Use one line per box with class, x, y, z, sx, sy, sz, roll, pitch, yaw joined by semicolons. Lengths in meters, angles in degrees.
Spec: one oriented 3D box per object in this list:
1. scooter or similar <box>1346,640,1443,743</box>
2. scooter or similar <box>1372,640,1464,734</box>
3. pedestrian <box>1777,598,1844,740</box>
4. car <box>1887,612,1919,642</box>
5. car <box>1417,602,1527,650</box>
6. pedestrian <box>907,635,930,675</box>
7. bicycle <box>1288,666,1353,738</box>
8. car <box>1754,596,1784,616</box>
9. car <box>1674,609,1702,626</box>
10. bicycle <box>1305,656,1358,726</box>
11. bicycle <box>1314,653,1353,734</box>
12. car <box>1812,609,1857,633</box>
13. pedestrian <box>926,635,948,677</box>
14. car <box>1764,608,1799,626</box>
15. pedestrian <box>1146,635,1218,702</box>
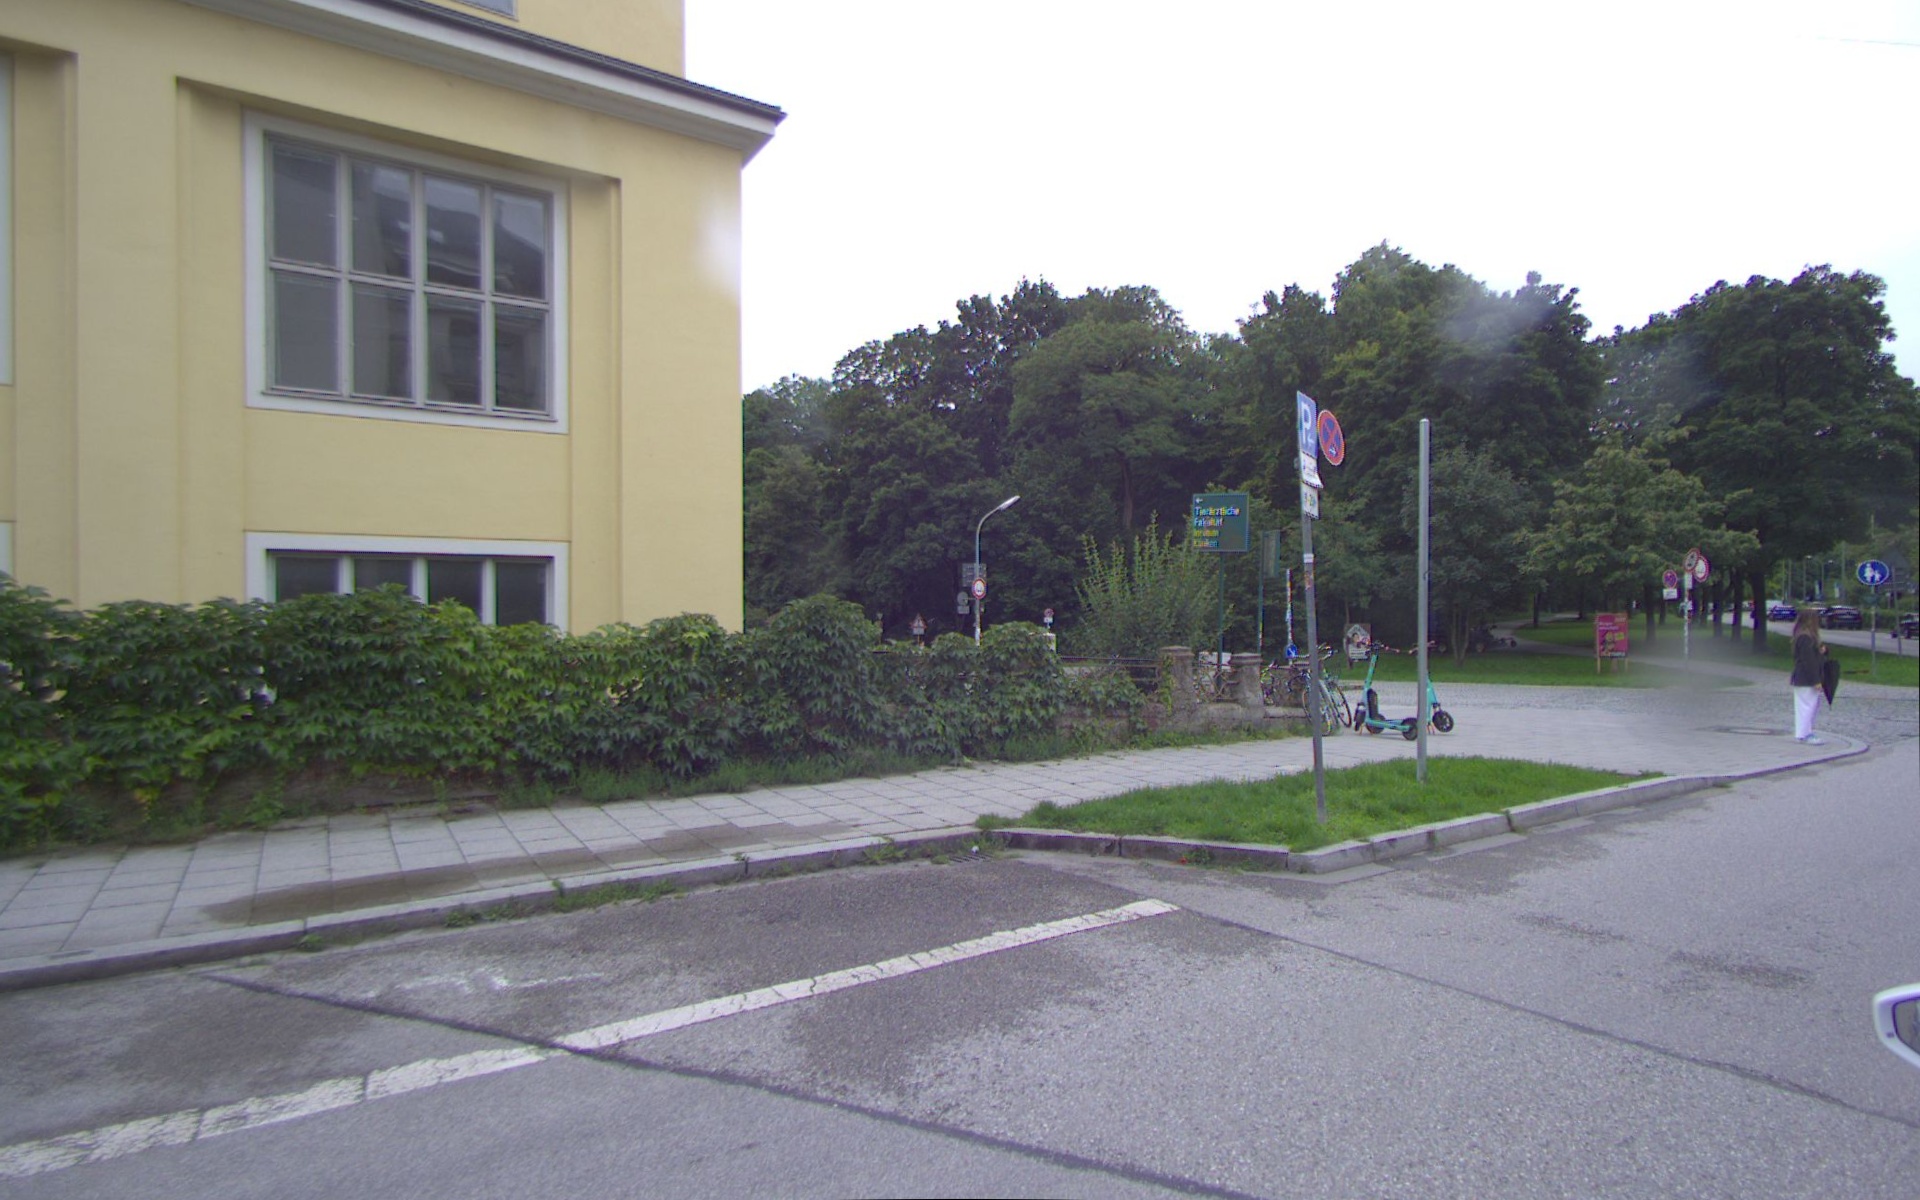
scooter or similar;5.693;1.179;13.218;0.388;1.260;1.258;2;-1;-21
scooter or similar;6.249;1.181;13.716;1.032;1.228;0.439;2;-1;-1
pedestrian;10.685;0.850;12.624;0.662;1.719;0.537;1;-2;-45
car;52.240;1.476;55.016;1.625;1.579;3.548;-1;-1;34
car;22.499;1.140;44.230;3.922;2.040;1.788;0;-1;-2
pedestrian;-1.705;2.244;41.121;0.683;1.602;0.746;0;-1;-28
bicycle;4.898;1.355;13.595;0.428;0.905;1.325;0;-3;38
car;82.533;0.588;102.478;2.039;1.992;4.960;-1;-1;35
car;71.550;1.672;98.819;1.966;1.622;4.456;-1;-1;33
bicycle;5.730;1.387;15.545;0.406;0.990;1.276;-1;-1;4
bicycle;5.557;1.369;14.985;0.295;1.126;1.192;1;-2;8
car;62.768;1.474;72.123;1.767;1.702;3.991;-1;-1;31
pedestrian;-0.956;2.317;41.612;0.653;1.720;0.745;0;-1;-31
car;77.376;1.600;94.618;1.965;1.622;4.244;-1;-1;32
pedestrian;4.539;1.372;20.493;1.255;1.285;0.841;0;-1;-39
